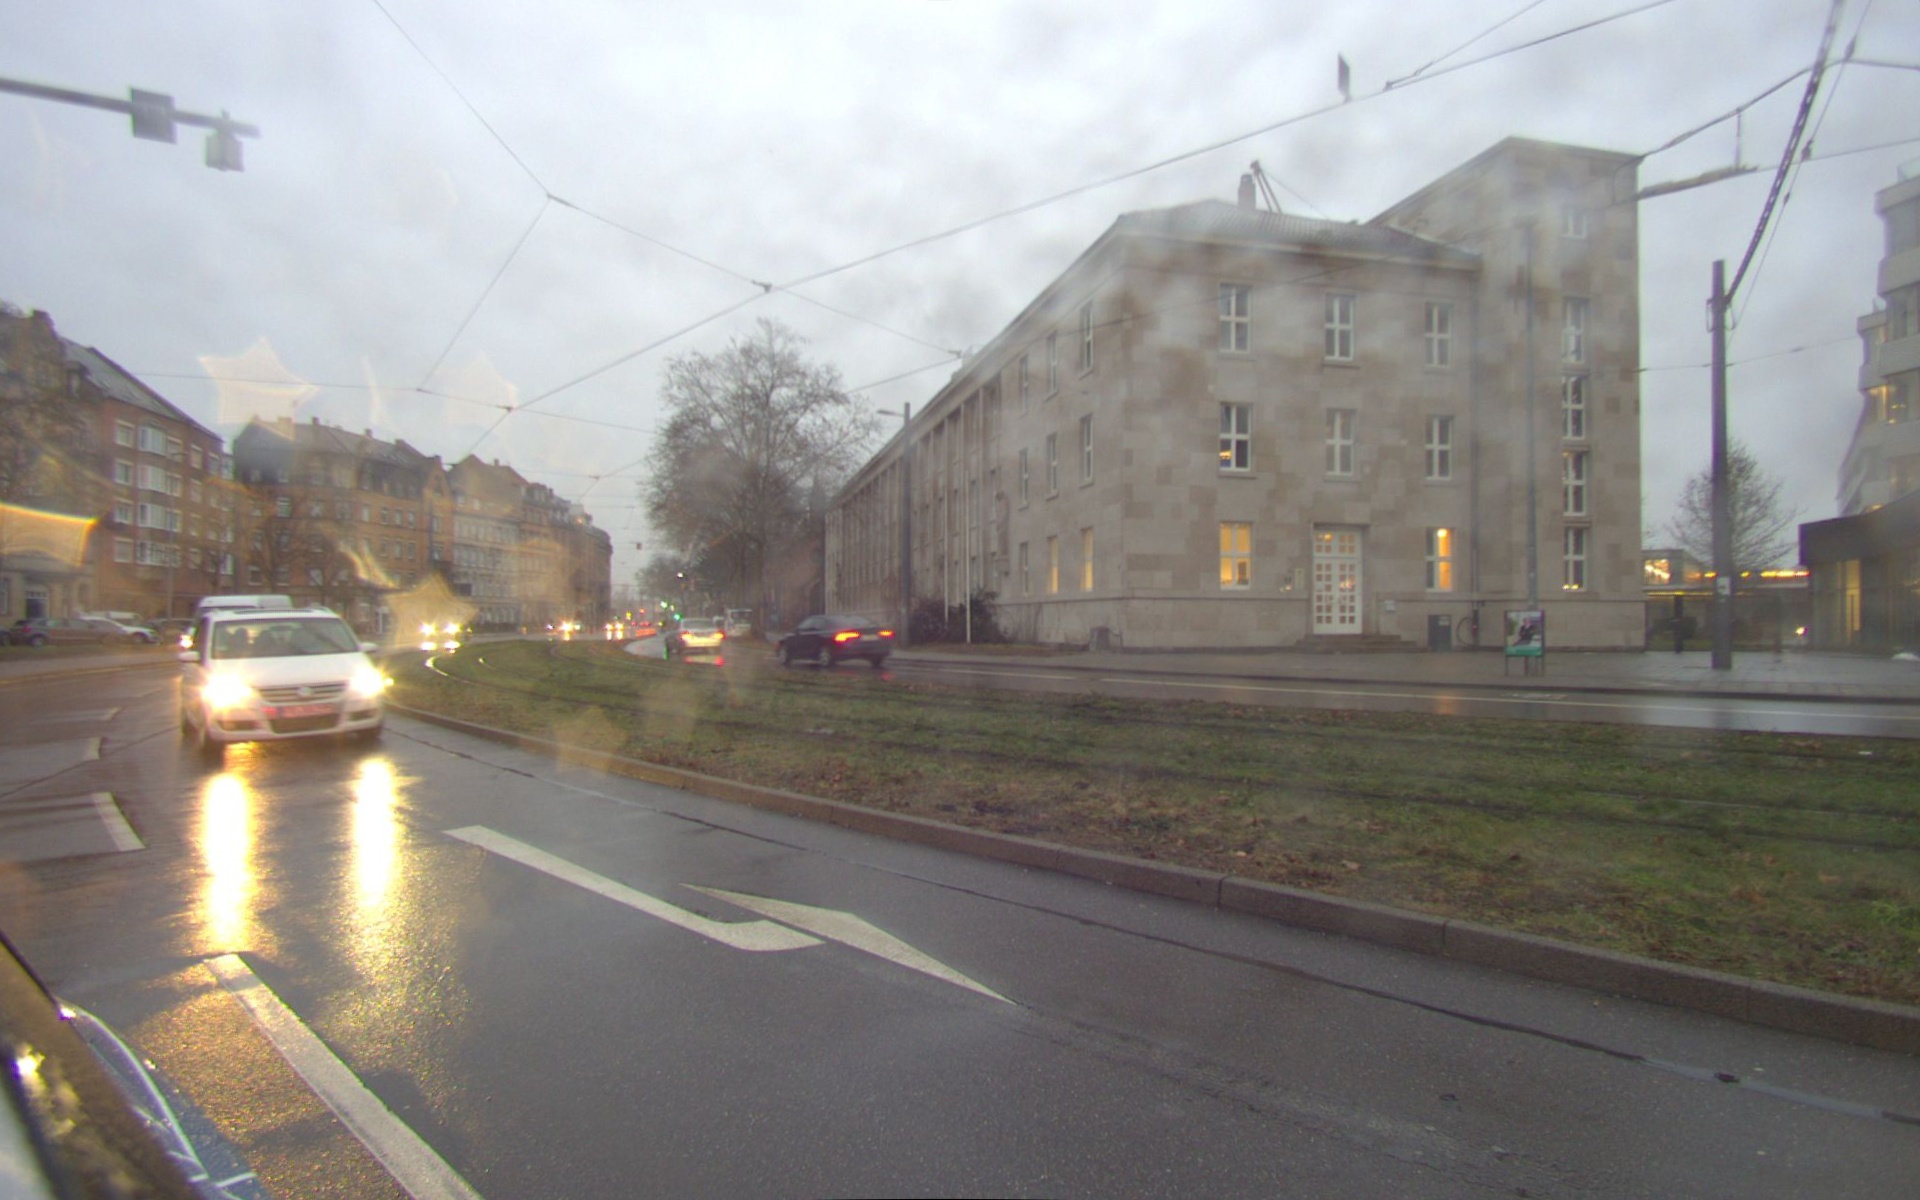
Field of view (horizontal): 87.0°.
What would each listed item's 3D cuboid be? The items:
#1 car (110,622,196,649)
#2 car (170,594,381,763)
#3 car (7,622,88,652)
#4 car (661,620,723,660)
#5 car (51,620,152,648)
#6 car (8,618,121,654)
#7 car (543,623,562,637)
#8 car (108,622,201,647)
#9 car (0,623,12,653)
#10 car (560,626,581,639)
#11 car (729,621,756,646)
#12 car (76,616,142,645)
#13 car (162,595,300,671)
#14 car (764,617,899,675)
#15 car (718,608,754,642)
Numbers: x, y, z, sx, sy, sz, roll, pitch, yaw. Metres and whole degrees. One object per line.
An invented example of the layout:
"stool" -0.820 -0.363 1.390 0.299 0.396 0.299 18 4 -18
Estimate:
"car" -45.279 1.986 56.856 3.706 1.364 1.605 -2 0 -39
"car" -8.517 0.843 12.435 1.649 1.672 4.154 -2 0 -41
"car" -52.253 2.097 58.045 1.666 1.554 4.010 -2 0 -12
"car" -11.128 1.602 41.785 1.795 1.446 4.670 -2 0 -23
"car" -41.883 1.654 49.486 3.706 1.342 1.605 1 -1 -39
"car" -41.119 1.613 46.521 3.816 1.416 1.696 -2 0 -43
"car" -46.352 3.405 115.277 1.694 1.630 3.950 0 -2 -17
"car" -42.689 1.813 53.672 3.711 1.288 1.602 1 -2 -45
"car" -50.722 1.951 51.736 1.449 1.555 3.881 0 -2 -12
"car" -44.168 3.633 114.781 1.865 1.424 3.958 0 -2 -16
"car" -13.294 2.016 61.801 1.535 1.439 2.963 0 0 -14
"car" -53.463 1.894 63.680 1.648 1.716 3.473 -2 0 -10
"car" -25.563 1.095 35.774 2.095 2.398 5.654 -2 0 -16
"car" -3.690 1.249 28.464 1.635 1.411 4.532 -2 0 -38
"car" -14.682 1.585 66.234 1.966 2.029 4.522 -2 0 -15
